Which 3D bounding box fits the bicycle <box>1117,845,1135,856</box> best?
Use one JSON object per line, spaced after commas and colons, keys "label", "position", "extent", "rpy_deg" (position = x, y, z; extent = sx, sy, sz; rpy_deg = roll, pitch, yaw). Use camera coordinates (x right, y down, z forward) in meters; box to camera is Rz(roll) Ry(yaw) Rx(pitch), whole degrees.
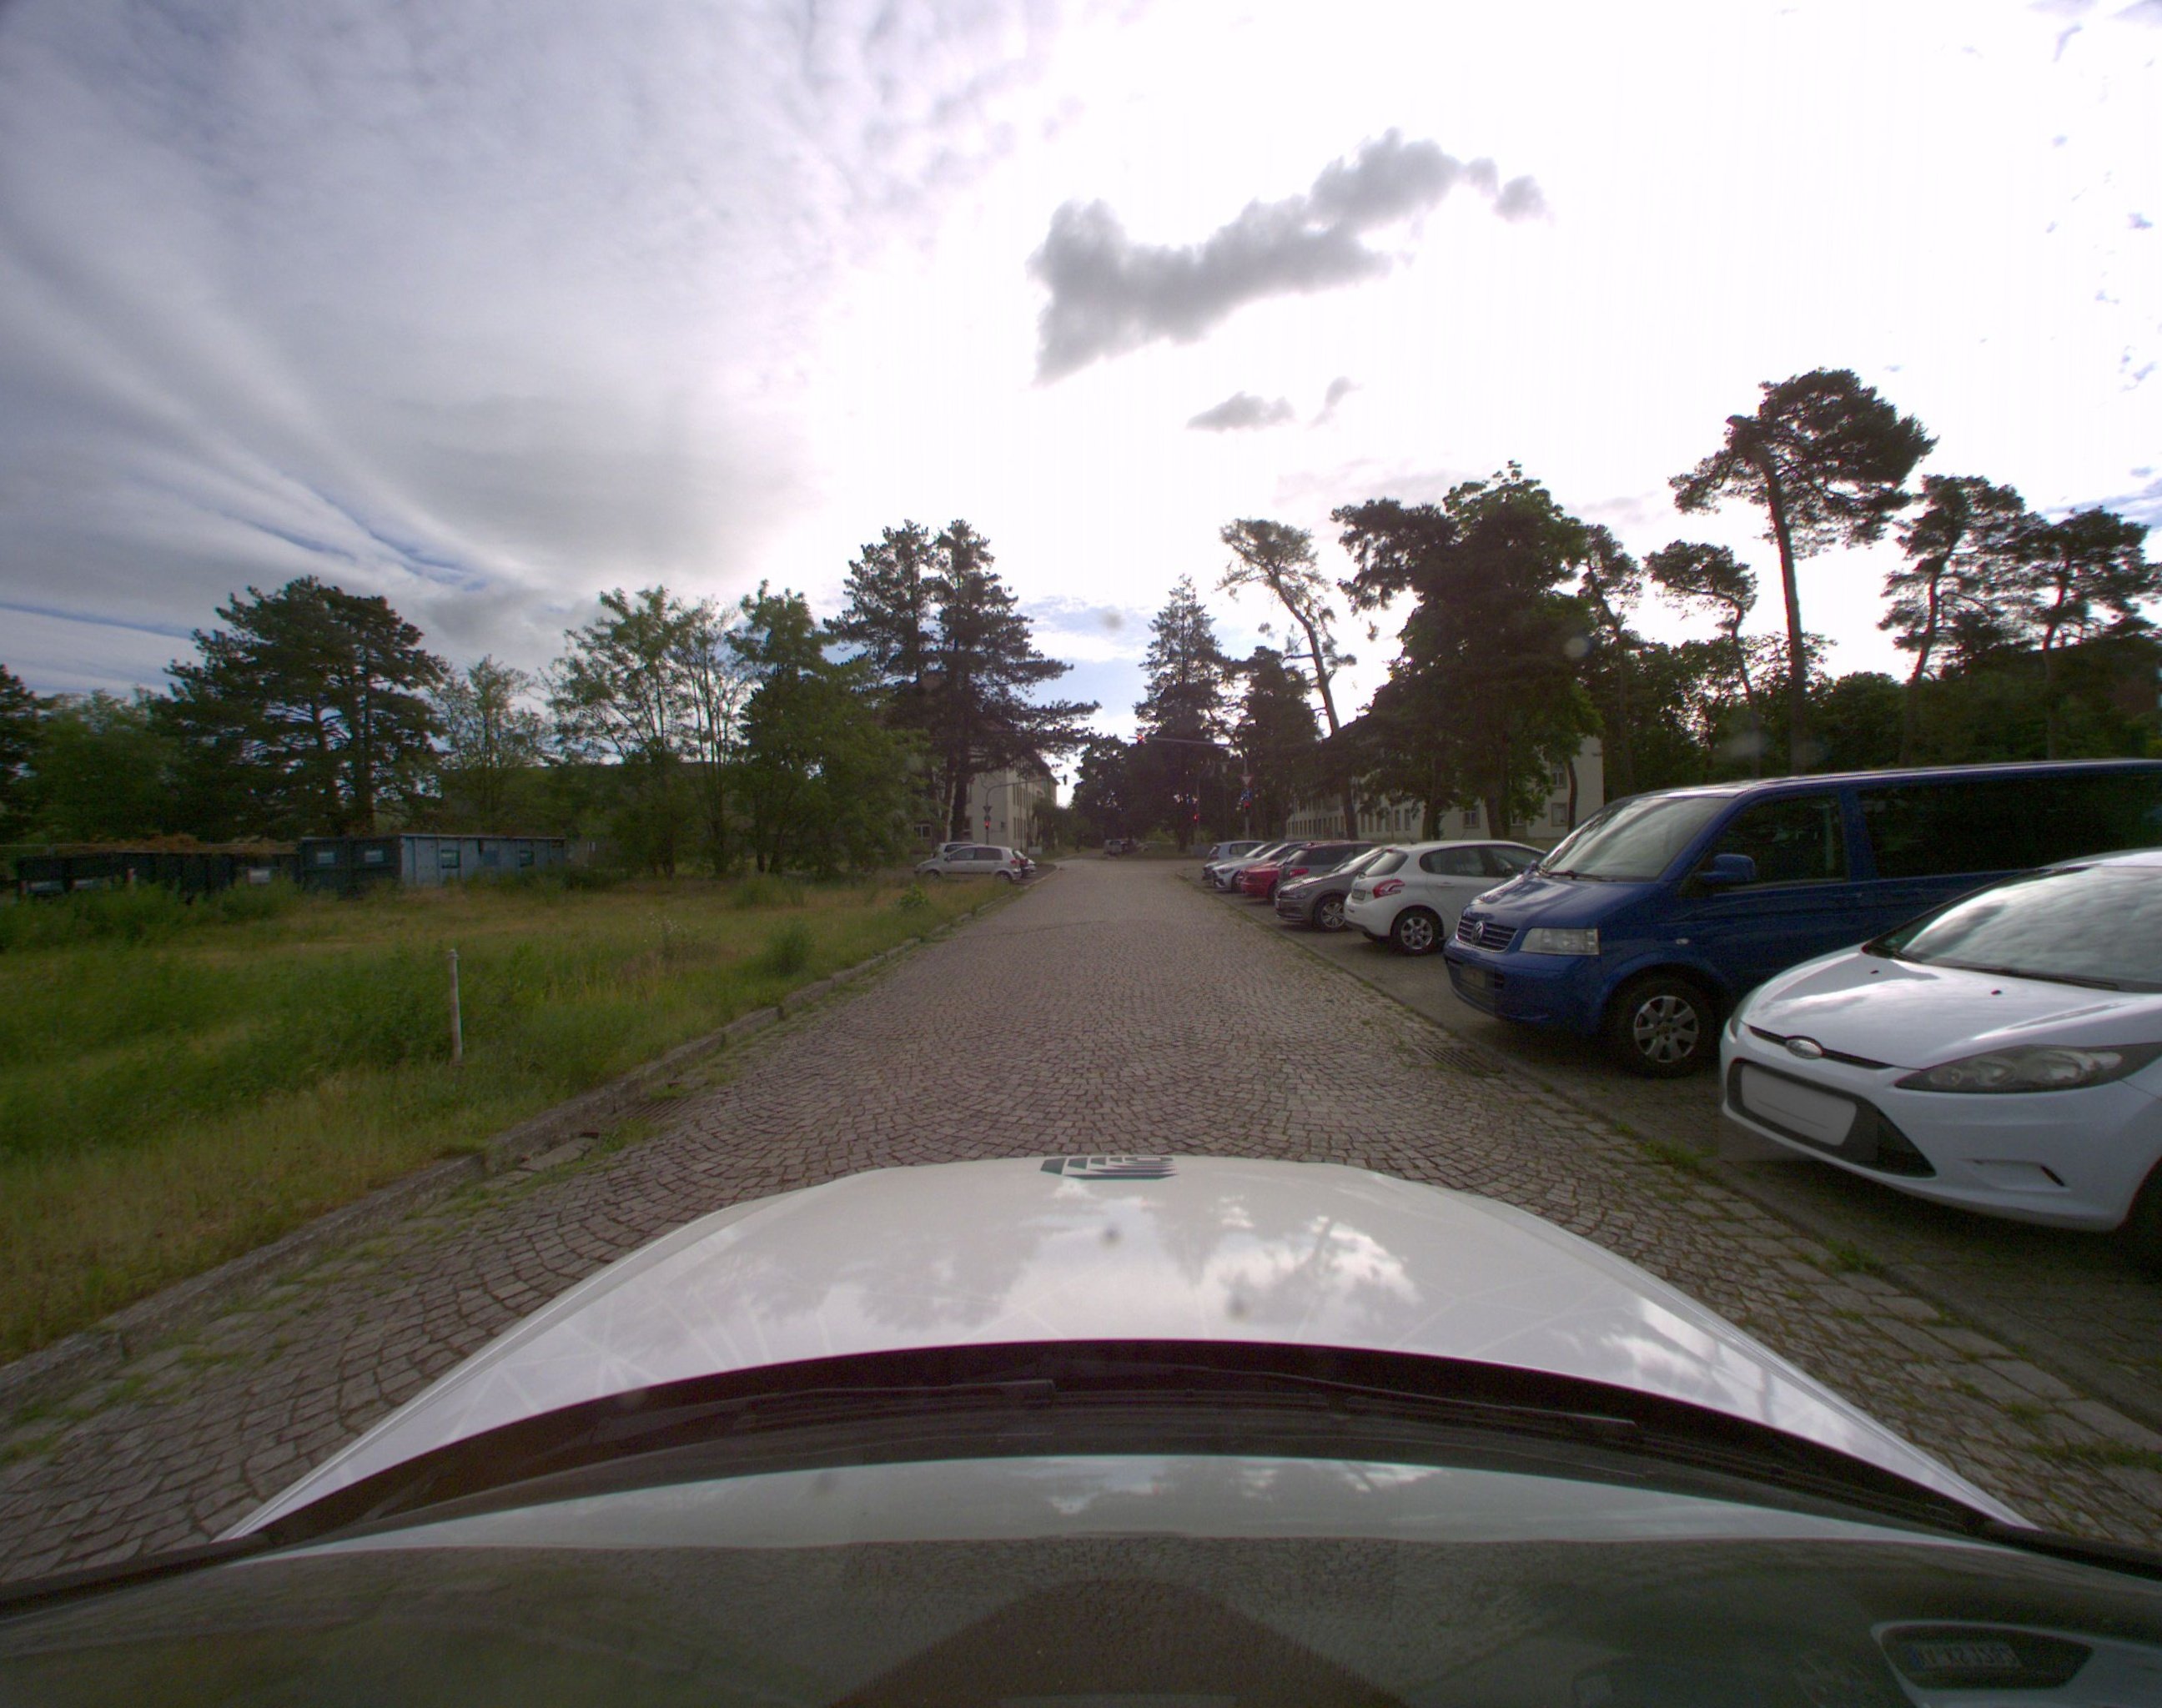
{"label": "bicycle", "position": [4.726, -0.338, 85.596], "extent": [1.877, 1.171, 0.664], "rpy_deg": [0, 0, -4]}

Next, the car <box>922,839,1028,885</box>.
{"label": "car", "position": [-4.444, 0.334, 34.667], "extent": [4.288, 1.732, 1.651], "rpy_deg": [-2, 1, -3]}

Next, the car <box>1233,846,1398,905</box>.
{"label": "car", "position": [5.639, 0.495, 19.872], "extent": [3.571, 1.222, 1.630], "rpy_deg": [-2, 1, 3]}

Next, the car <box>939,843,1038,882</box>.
{"label": "car", "position": [-4.154, 0.383, 37.116], "extent": [4.289, 1.553, 1.810], "rpy_deg": [-2, 1, -4]}

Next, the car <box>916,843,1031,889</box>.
{"label": "car", "position": [-4.124, 0.435, 31.851], "extent": [4.289, 1.553, 1.810], "rpy_deg": [-2, 1, -4]}

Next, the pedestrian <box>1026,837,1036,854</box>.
{"label": "pedestrian", "position": [-5.789, -0.948, 94.908], "extent": [1.070, 1.959, 1.122], "rpy_deg": [0, 0, 2]}

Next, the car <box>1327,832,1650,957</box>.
{"label": "car", "position": [5.555, 0.515, 11.468], "extent": [3.639, 1.478, 1.766], "rpy_deg": [-2, 1, 2]}

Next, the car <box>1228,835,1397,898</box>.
{"label": "car", "position": [6.230, 0.312, 22.198], "extent": [4.091, 1.476, 1.685], "rpy_deg": [-2, 1, 0]}

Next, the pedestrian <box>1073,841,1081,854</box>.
{"label": "pedestrian", "position": [-0.625, -0.962, 126.721], "extent": [1.236, 1.959, 1.120], "rpy_deg": [0, 0, -3]}

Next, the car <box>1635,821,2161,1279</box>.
{"label": "car", "position": [5.108, 0.602, 3.654], "extent": [4.086, 1.478, 1.721], "rpy_deg": [-2, 1, -1]}

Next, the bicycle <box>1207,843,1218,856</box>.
{"label": "bicycle", "position": [10.734, -0.355, 66.641], "extent": [0.660, 1.051, 1.889], "rpy_deg": [0, 1, 3]}

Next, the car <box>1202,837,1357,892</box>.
{"label": "car", "position": [5.916, 0.295, 24.572], "extent": [4.179, 1.437, 1.752], "rpy_deg": [-2, 1, -5]}

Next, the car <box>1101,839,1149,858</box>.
{"label": "car", "position": [5.254, -0.673, 96.897], "extent": [5.377, 2.101, 2.171], "rpy_deg": [-2, 1, -10]}

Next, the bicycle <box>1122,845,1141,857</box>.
{"label": "bicycle", "position": [5.089, -0.305, 82.085], "extent": [1.877, 1.171, 0.664], "rpy_deg": [0, 0, -4]}

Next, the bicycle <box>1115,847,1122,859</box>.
{"label": "bicycle", "position": [3.546, -0.118, 77.492], "extent": [0.660, 1.171, 1.889], "rpy_deg": [0, 0, 3]}

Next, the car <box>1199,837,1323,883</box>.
{"label": "car", "position": [6.554, 0.192, 29.878], "extent": [4.126, 1.463, 1.632], "rpy_deg": [-2, 1, -3]}

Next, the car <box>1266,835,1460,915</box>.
{"label": "car", "position": [5.853, 0.410, 17.237], "extent": [3.492, 1.487, 1.744], "rpy_deg": [-2, 1, 1]}

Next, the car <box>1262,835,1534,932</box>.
{"label": "car", "position": [5.436, 0.477, 14.379], "extent": [4.114, 1.447, 1.767], "rpy_deg": [-2, 1, 2]}

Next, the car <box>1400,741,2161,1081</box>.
{"label": "car", "position": [5.202, 0.334, 6.163], "extent": [4.780, 2.004, 1.966], "rpy_deg": [-2, 1, 0]}

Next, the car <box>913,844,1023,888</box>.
{"label": "car", "position": [-3.999, 0.397, 29.248], "extent": [3.709, 1.480, 1.673], "rpy_deg": [1, 1, -1]}

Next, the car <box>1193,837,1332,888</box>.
{"label": "car", "position": [6.047, 0.254, 27.337], "extent": [4.227, 1.479, 1.704], "rpy_deg": [-2, 1, -9]}
